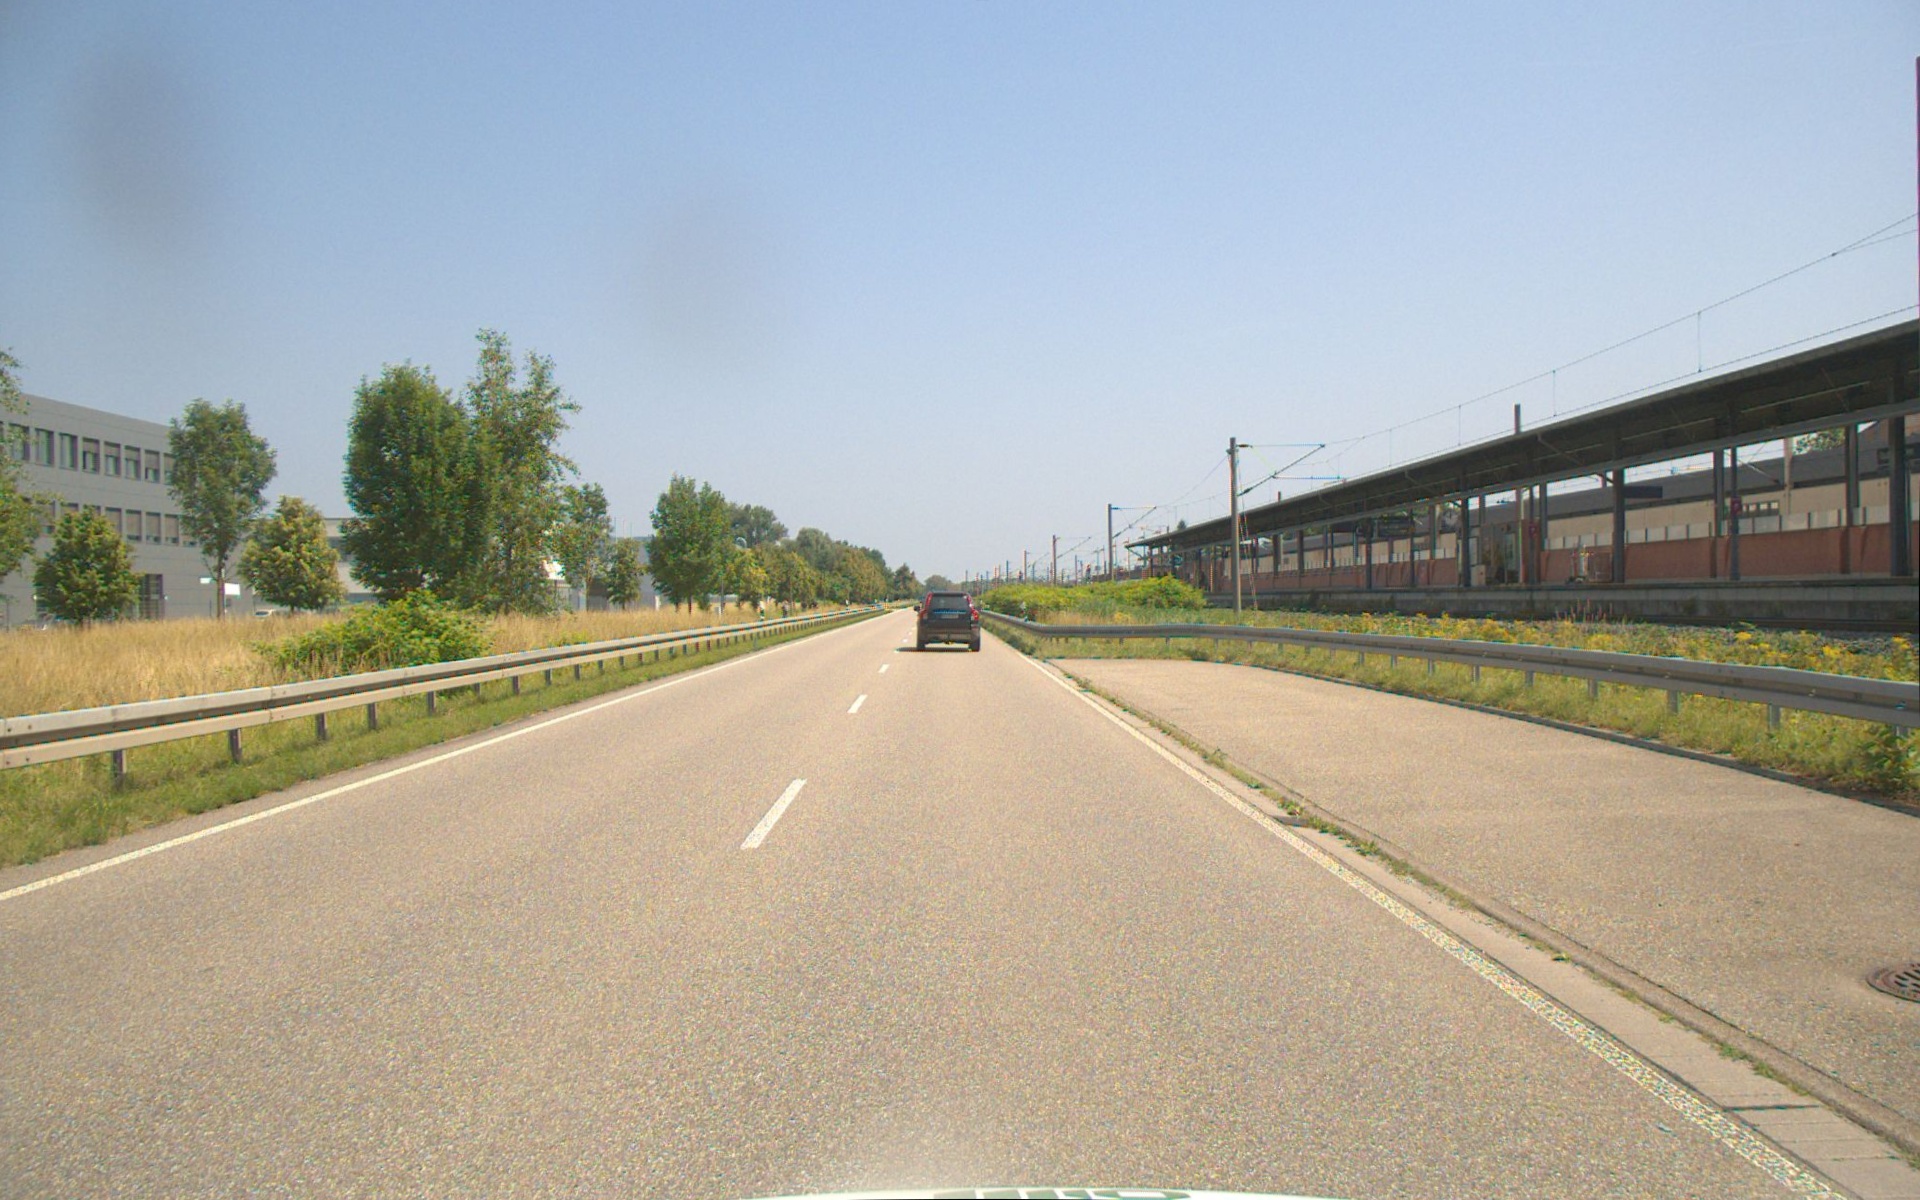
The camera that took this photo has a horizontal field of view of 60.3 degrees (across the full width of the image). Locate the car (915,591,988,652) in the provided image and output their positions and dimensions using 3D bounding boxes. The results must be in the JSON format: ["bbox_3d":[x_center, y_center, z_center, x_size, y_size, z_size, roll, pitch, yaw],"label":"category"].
[{"bbox_3d":[-0.286,0.601,48.866,1.954,1.730,3.997,0,0,-3],"label":"car"}]
